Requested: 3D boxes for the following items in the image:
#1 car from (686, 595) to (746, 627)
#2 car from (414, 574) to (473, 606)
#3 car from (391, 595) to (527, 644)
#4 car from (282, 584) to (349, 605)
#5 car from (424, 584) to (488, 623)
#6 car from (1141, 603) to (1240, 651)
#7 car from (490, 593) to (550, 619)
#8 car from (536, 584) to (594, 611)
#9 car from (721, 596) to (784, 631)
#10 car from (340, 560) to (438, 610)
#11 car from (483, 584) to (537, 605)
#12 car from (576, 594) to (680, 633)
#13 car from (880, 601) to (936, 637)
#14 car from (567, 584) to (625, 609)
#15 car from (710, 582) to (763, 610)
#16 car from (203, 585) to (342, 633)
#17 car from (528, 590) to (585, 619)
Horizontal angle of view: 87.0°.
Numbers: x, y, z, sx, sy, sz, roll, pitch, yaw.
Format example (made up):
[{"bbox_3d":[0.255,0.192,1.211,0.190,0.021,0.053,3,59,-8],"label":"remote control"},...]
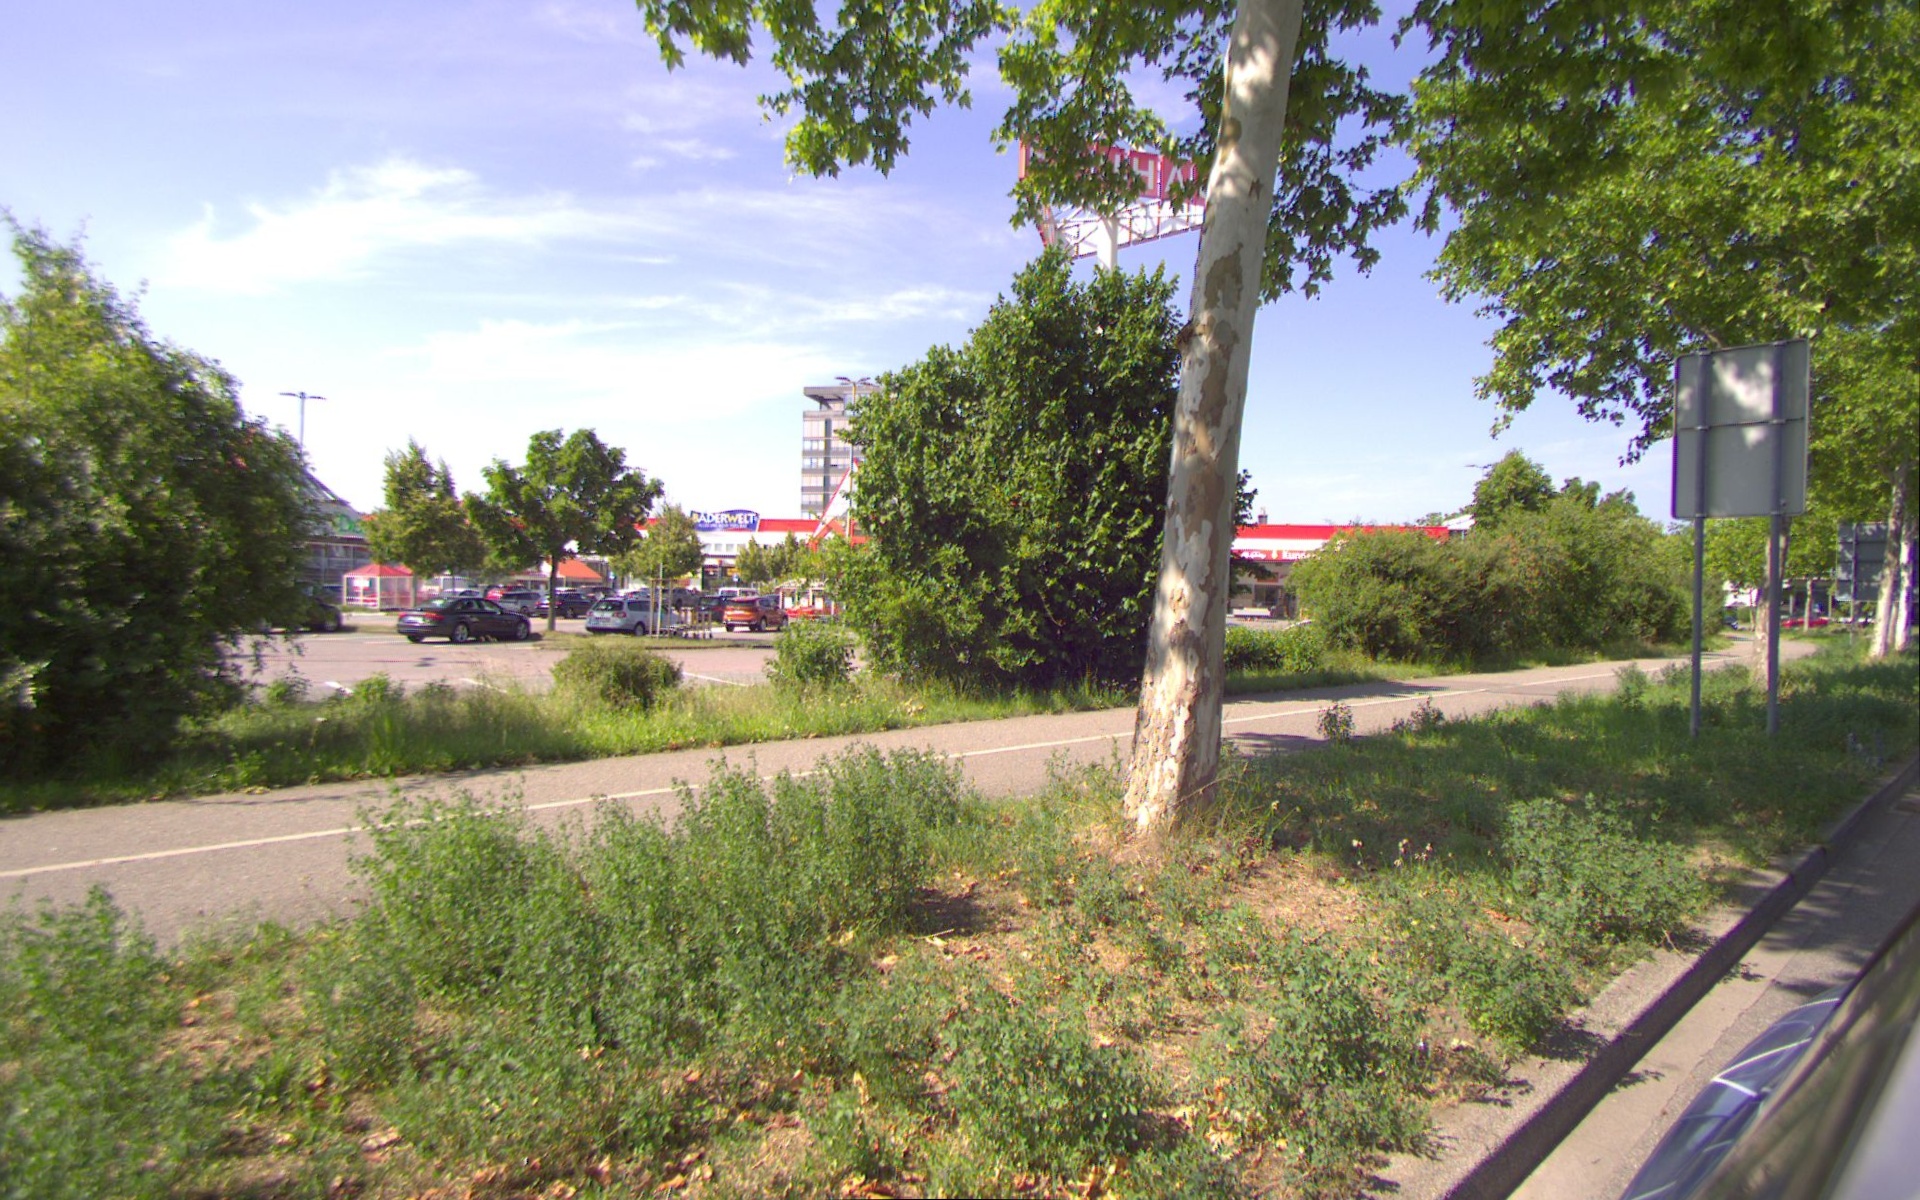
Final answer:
[{"bbox_3d":[-12.961,0.580,53.996,1.745,1.625,3.732,0,0,11],"label":"car"},{"bbox_3d":[-36.907,-0.687,72.336,1.973,2.256,3.567,0,0,11],"label":"car"},{"bbox_3d":[-15.322,0.562,31.169,1.425,1.371,3.978,1,0,17],"label":"car"},{"bbox_3d":[-39.105,-0.315,61.453,1.377,1.266,3.296,-1,-1,22],"label":"car"},{"bbox_3d":[-29.377,0.184,59.085,1.534,2.191,3.540,0,0,11],"label":"car"},{"bbox_3d":[7.806,0.883,34.483,1.175,1.474,3.156,0,1,-43],"label":"car"},{"bbox_3d":[-25.115,0.326,57.825,1.534,1.444,3.332,0,0,11],"label":"car"},{"bbox_3d":[-27.455,-0.166,70.429,1.861,1.868,4.043,0,0,11],"label":"car"},{"bbox_3d":[-9.596,0.593,47.059,1.654,1.565,3.778,0,0,9],"label":"car"},{"bbox_3d":[-34.247,-0.860,60.929,2.270,2.889,5.266,0,0,11],"label":"car"},{"bbox_3d":[-31.710,-0.389,71.440,1.507,1.455,3.847,0,0,13],"label":"car"},{"bbox_3d":[-11.895,0.524,36.493,1.759,1.289,3.806,0,-2,15],"label":"car"},{"bbox_3d":[-2.273,0.825,45.477,1.752,1.505,3.778,0,0,9],"label":"car"},{"bbox_3d":[-24.961,-0.255,69.524,1.973,1.631,4.043,0,0,11],"label":"car"},{"bbox_3d":[-14.806,-0.254,67.155,1.973,1.834,4.043,0,0,11],"label":"car"},{"bbox_3d":[-22.444,0.294,33.210,1.472,1.460,3.859,-1,-1,11],"label":"car"},{"bbox_3d":[-21.842,0.235,54.871,1.473,1.527,3.495,1,0,5],"label":"car"}]
